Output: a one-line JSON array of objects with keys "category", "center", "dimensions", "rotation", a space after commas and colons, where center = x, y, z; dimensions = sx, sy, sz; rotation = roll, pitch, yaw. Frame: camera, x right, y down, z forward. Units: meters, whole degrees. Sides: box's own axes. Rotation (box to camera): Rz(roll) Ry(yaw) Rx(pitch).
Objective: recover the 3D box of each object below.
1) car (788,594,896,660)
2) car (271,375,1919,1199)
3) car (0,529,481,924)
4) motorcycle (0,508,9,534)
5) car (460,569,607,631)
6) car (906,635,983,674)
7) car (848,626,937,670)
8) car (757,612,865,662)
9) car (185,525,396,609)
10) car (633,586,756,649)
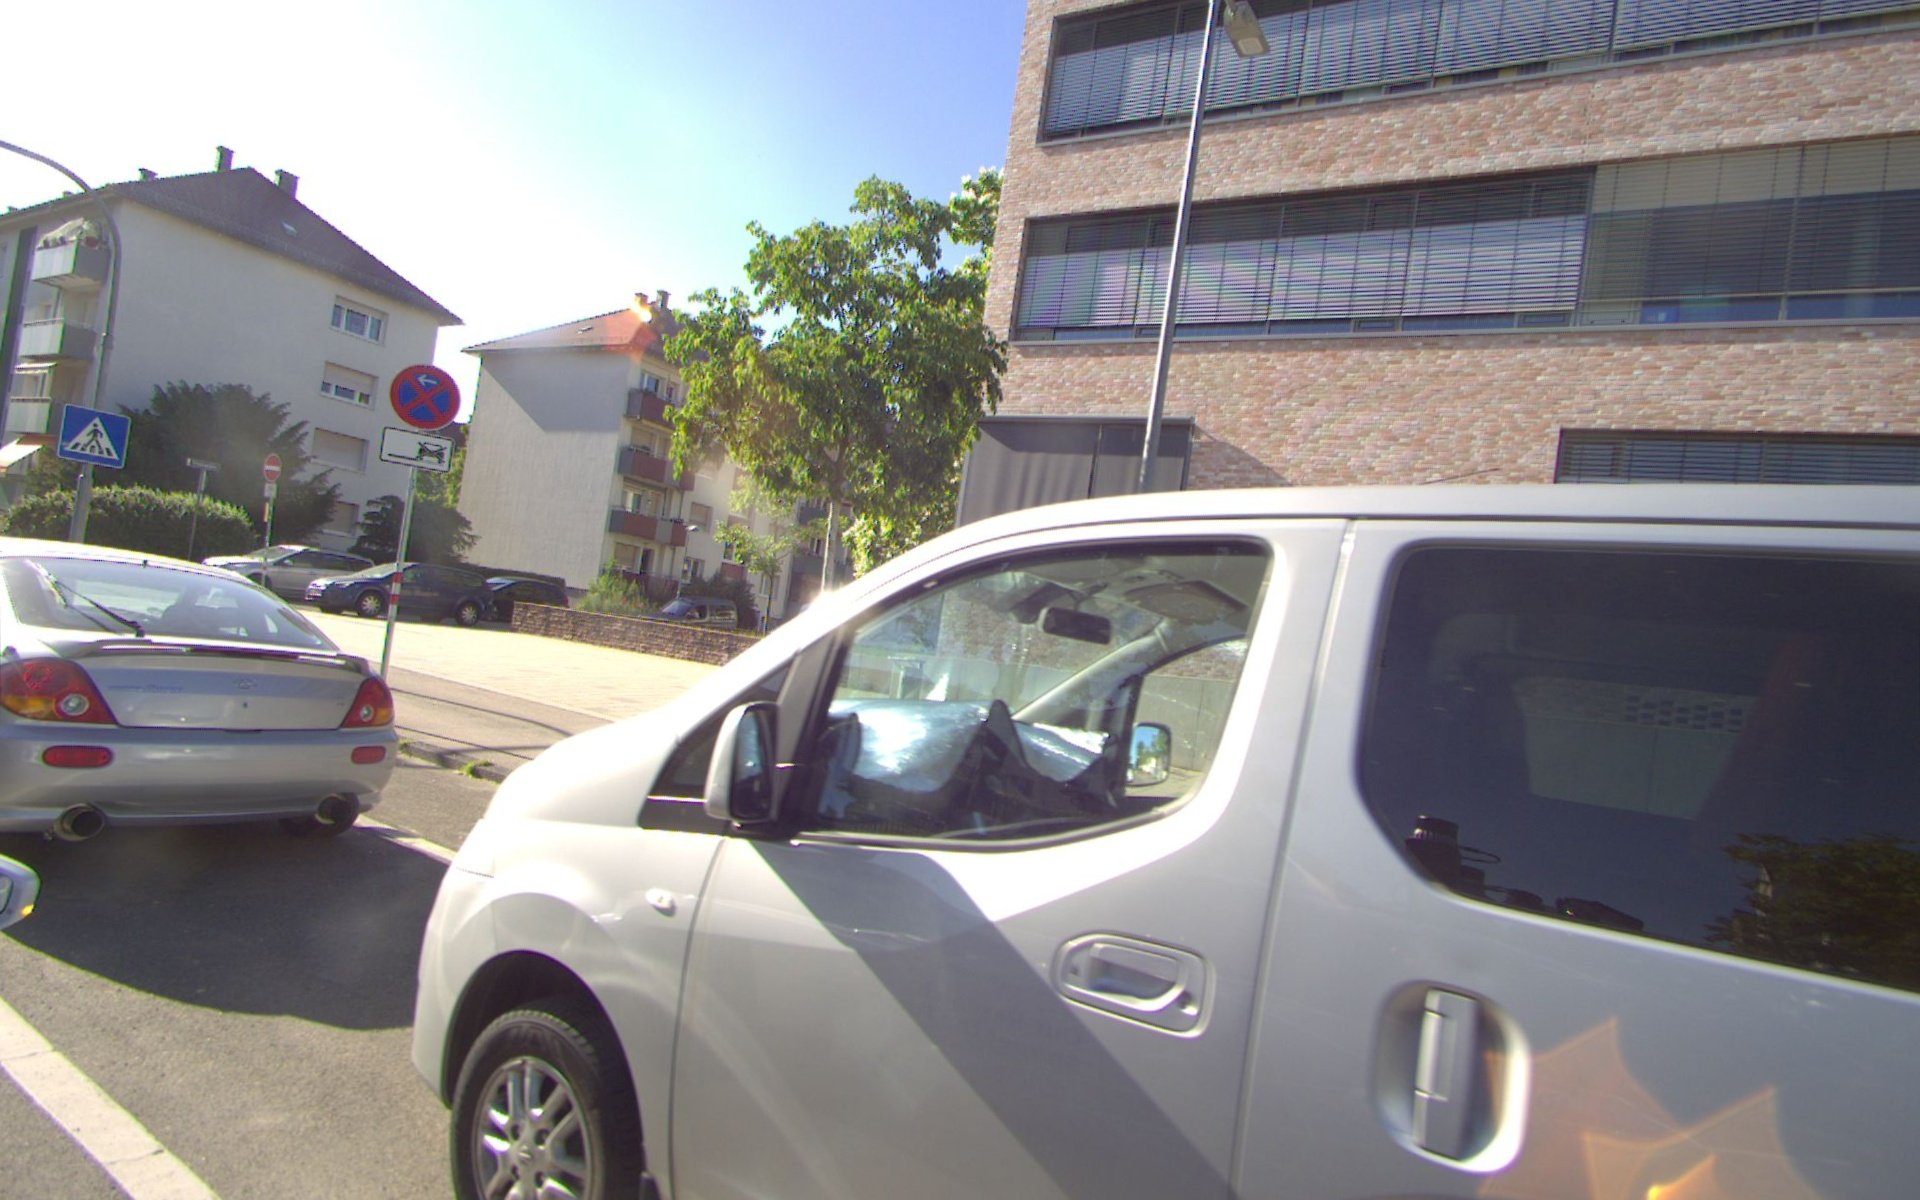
[{"category": "car", "center": [-5.821, 1.393, 50.426], "dimensions": [2.324, 2.647, 5.578], "rotation": [5, -3, 29]}, {"category": "car", "center": [0.610, 0.731, 2.188], "dimensions": [4.341, 1.875, 1.798], "rotation": [7, -2, 34]}, {"category": "car", "center": [-4.617, 0.377, 5.258], "dimensions": [4.099, 1.333, 1.769], "rotation": [6, -3, 32]}, {"category": "motorcycle", "center": [-37.510, -3.190, 37.648], "dimensions": [0.816, 0.946, 2.566], "rotation": [7, -3, 29]}, {"category": "car", "center": [-14.799, 0.045, 35.179], "dimensions": [1.769, 1.557, 4.493], "rotation": [5, -3, 29]}, {"category": "car", "center": [-0.715, 2.740, 50.063], "dimensions": [1.769, 1.527, 4.493], "rotation": [5, -3, 29]}, {"category": "car", "center": [-2.974, 2.200, 45.418], "dimensions": [1.769, 1.527, 4.493], "rotation": [5, -3, 29]}, {"category": "car", "center": [-5.871, 1.521, 40.191], "dimensions": [1.769, 1.527, 4.493], "rotation": [5, -3, 29]}, {"category": "car", "center": [-18.567, -0.855, 28.138], "dimensions": [1.769, 1.640, 4.493], "rotation": [5, -3, 29]}, {"category": "car", "center": [-9.968, 0.719, 38.102], "dimensions": [1.769, 1.842, 4.493], "rotation": [5, -3, 29]}]
